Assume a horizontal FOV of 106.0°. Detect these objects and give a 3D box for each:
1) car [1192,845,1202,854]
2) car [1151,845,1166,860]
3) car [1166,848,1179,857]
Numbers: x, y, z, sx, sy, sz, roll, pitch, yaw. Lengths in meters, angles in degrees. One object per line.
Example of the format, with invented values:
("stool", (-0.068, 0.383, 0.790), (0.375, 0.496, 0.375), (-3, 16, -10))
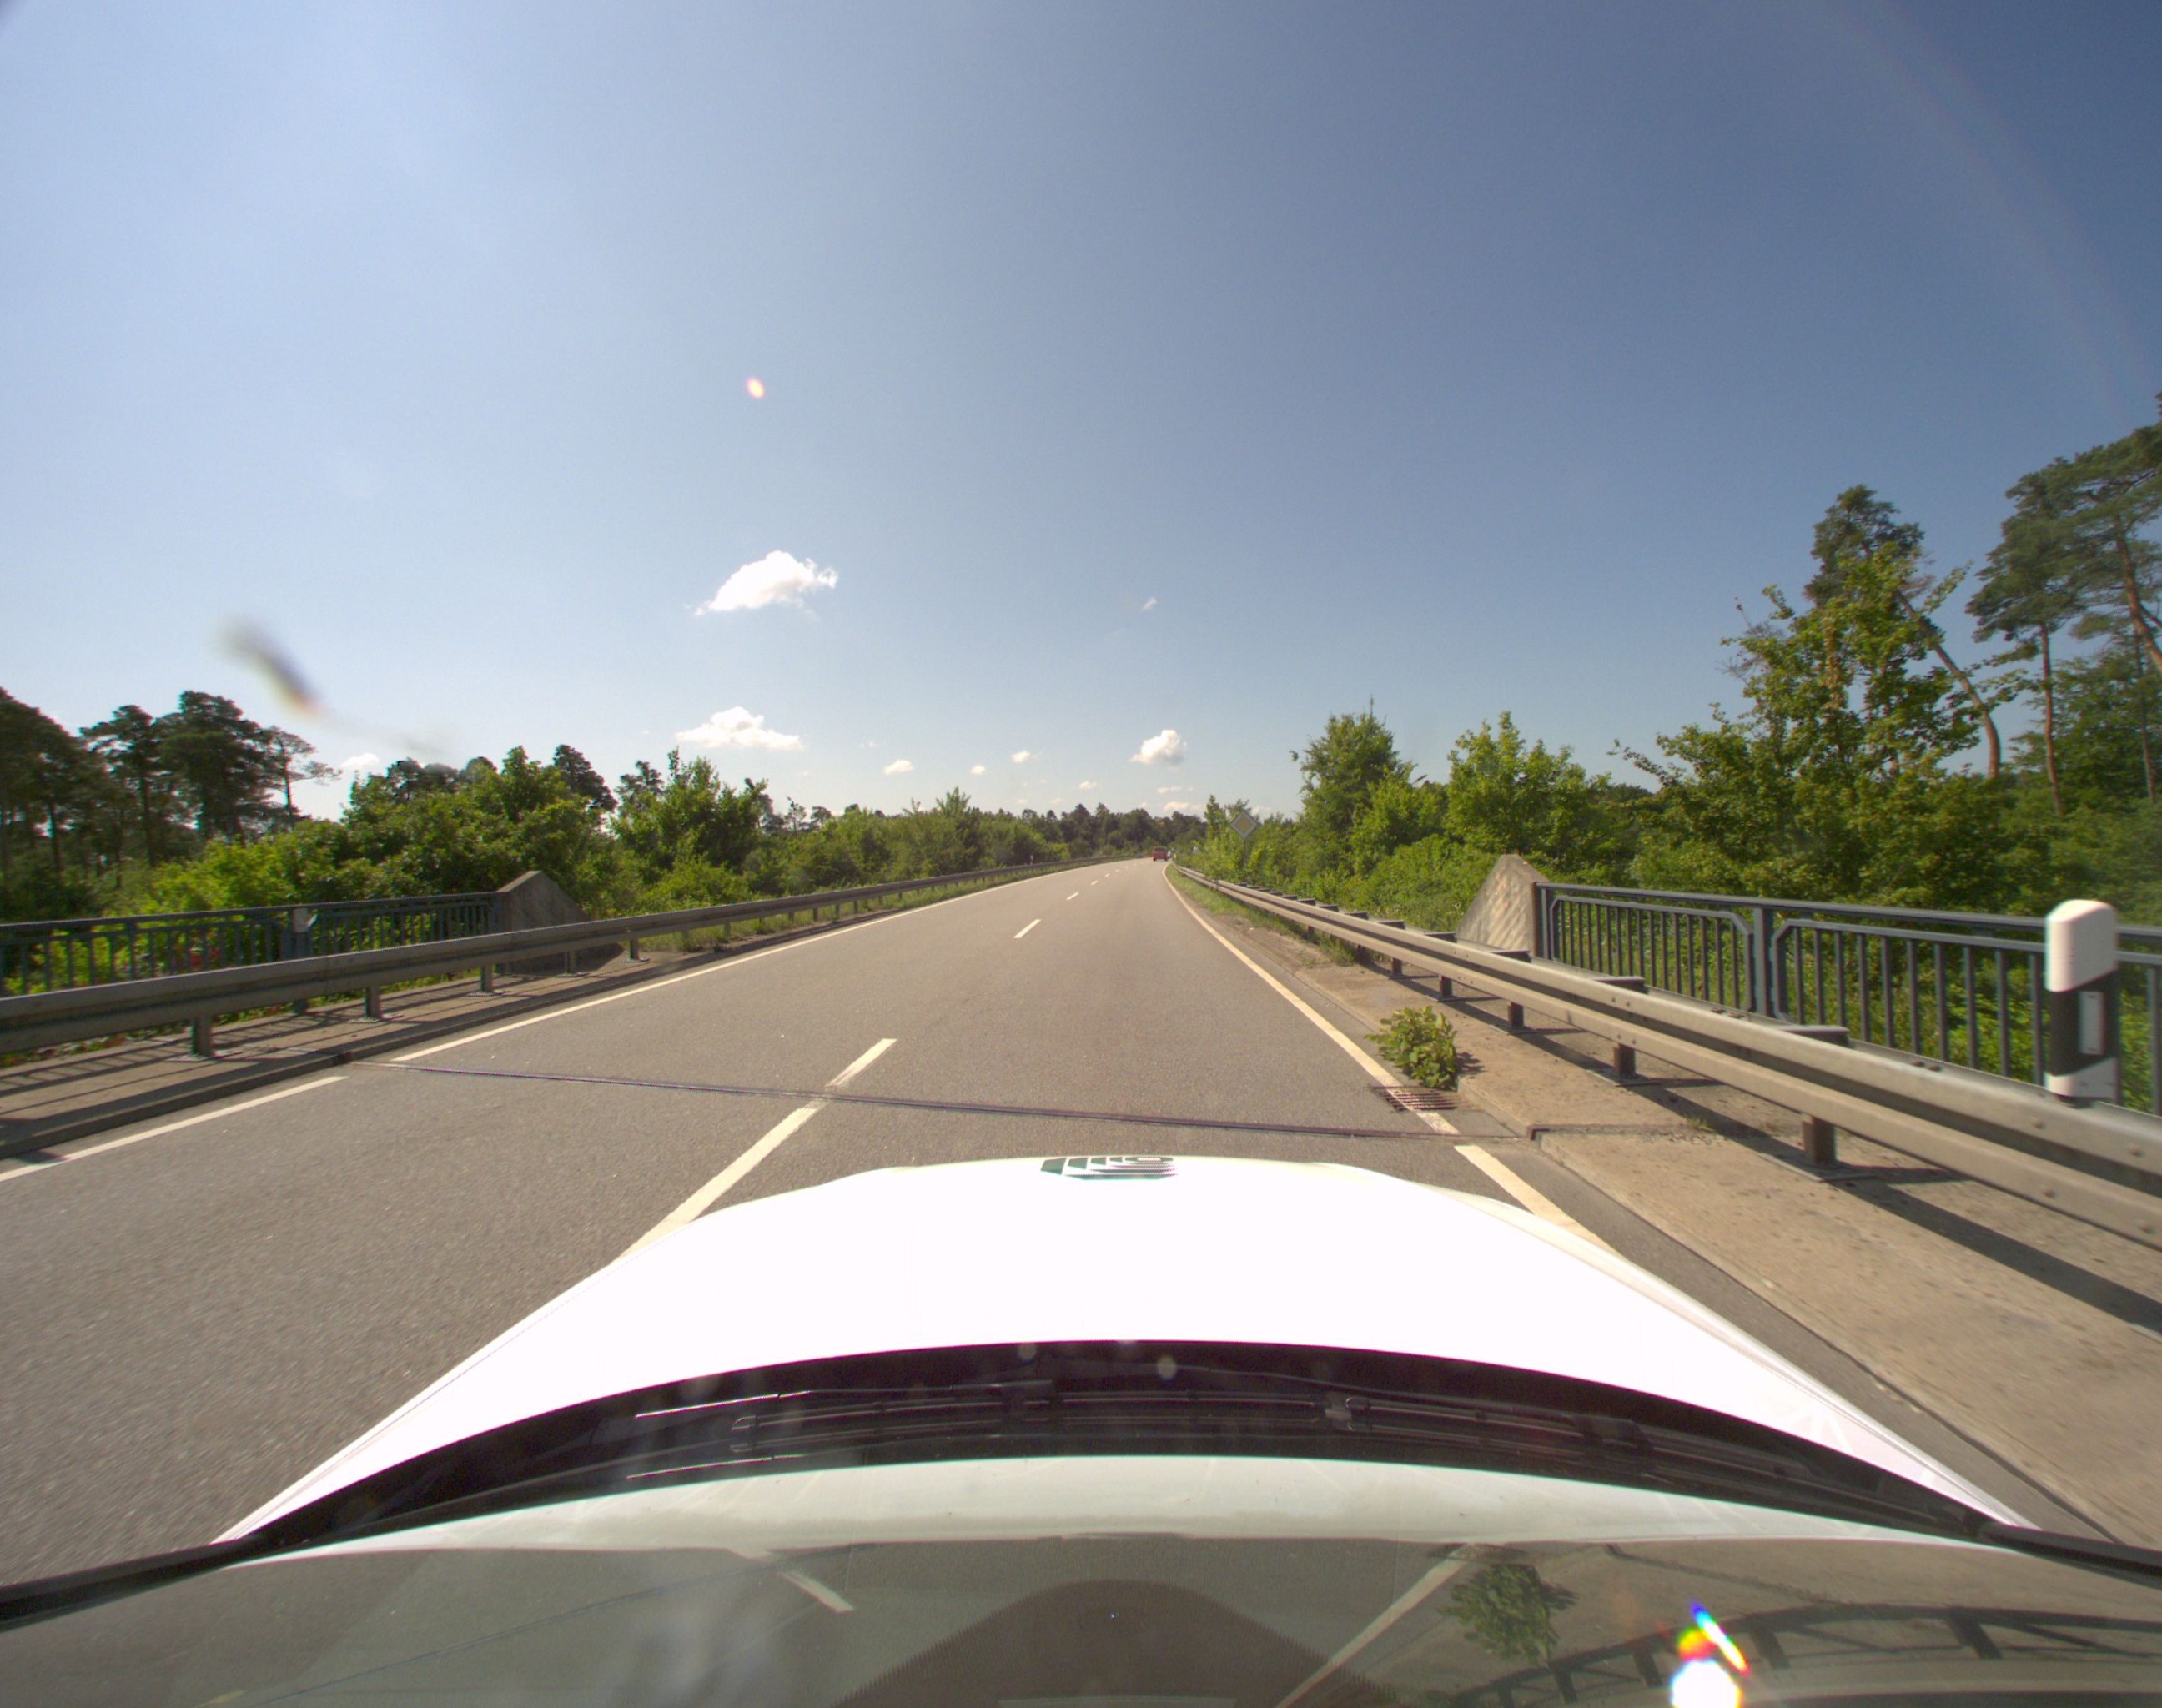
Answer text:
("car", (27.670, -1.103, 194.793), (2.174, 1.955, 5.813), (0, 0, 5))
("car", (10.855, -0.159, 114.035), (2.068, 1.993, 5.118), (0, 0, 5))
("car", (15.367, -0.281, 136.846), (1.998, 1.494, 4.244), (0, 0, 5))
